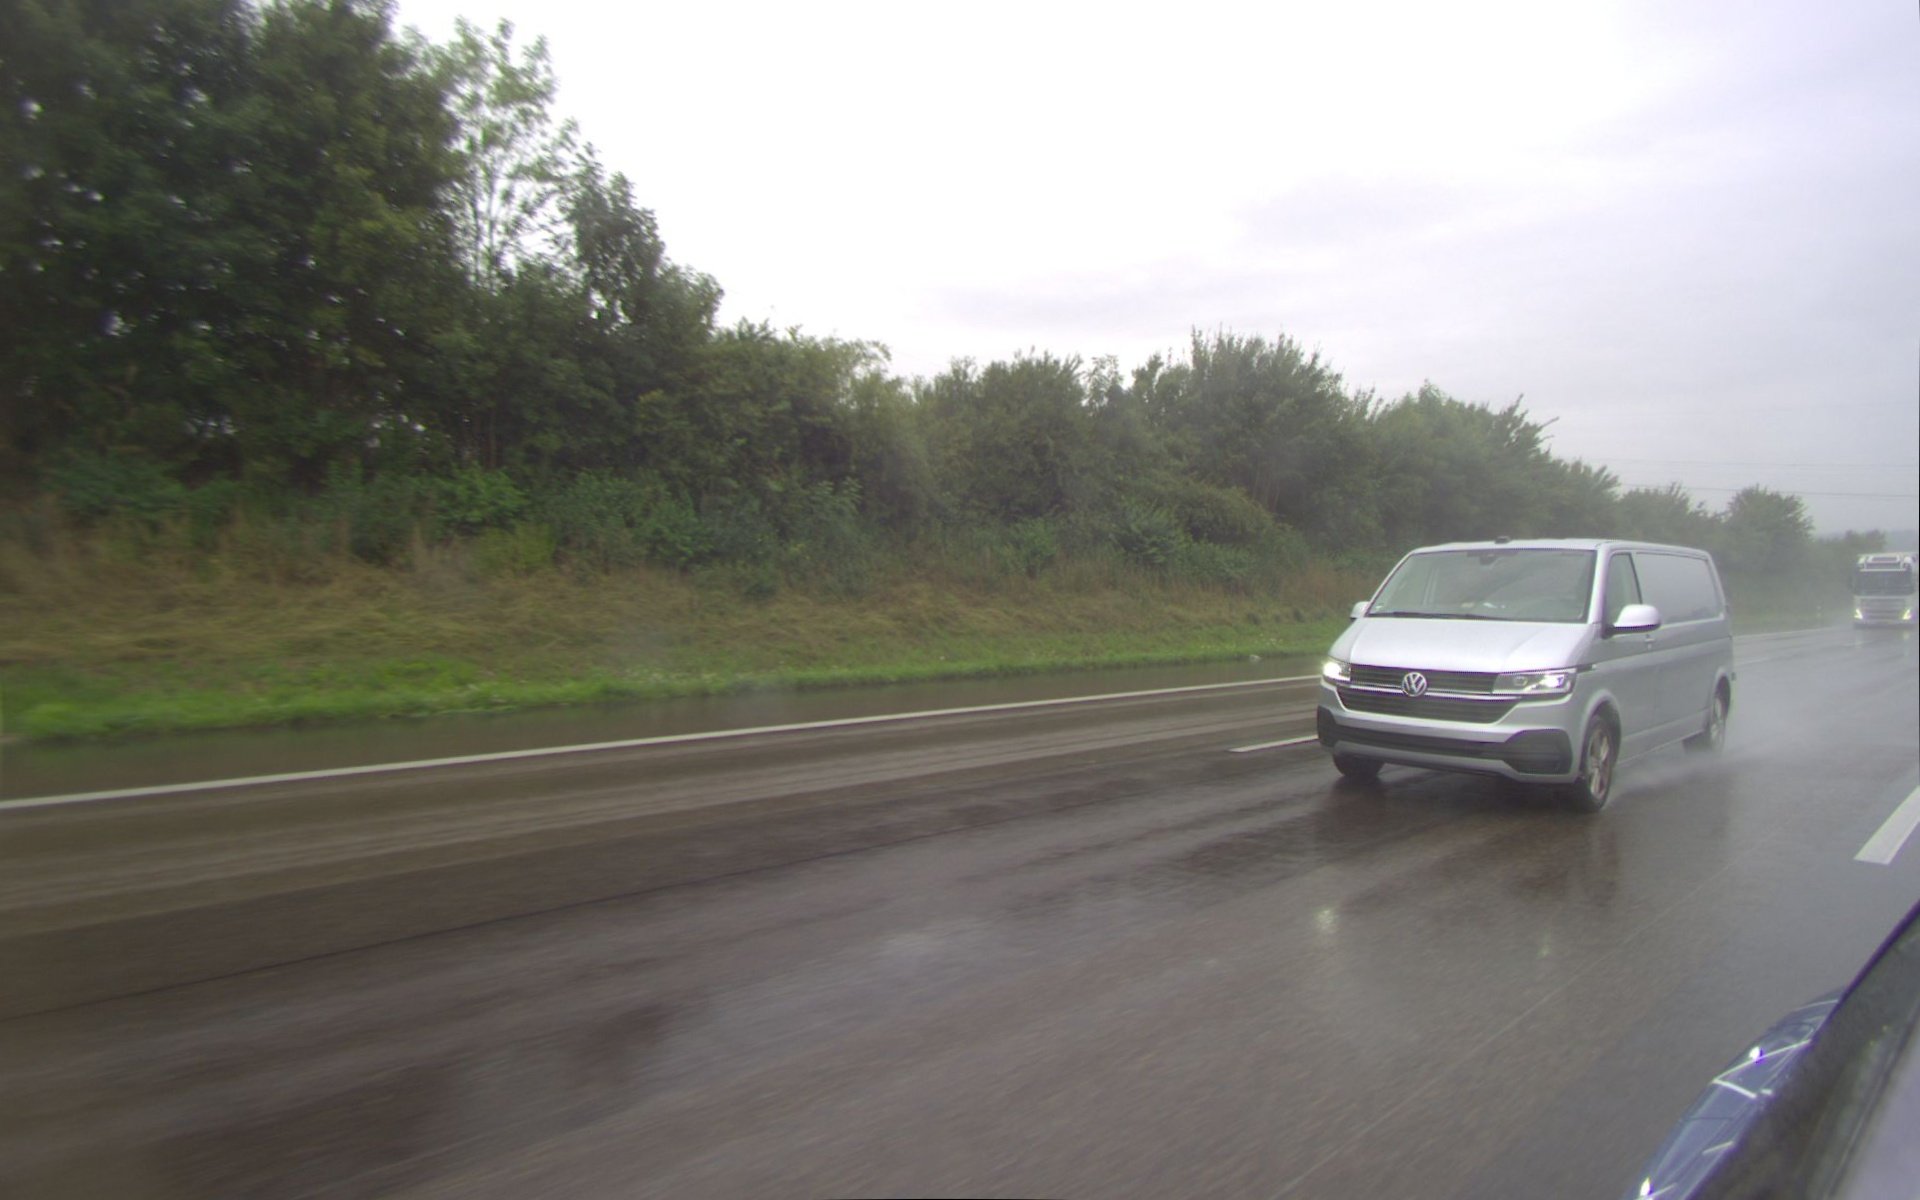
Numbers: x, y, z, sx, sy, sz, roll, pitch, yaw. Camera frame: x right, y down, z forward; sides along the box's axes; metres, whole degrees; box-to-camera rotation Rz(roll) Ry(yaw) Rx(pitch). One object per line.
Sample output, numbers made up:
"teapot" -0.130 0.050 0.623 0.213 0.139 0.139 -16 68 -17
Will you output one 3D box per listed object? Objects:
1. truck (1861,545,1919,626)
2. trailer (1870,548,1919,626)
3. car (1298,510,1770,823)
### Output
"truck" 50.204 -0.755 53.919 5.147 4.139 2.617 0 1 -41
"trailer" 55.568 -0.729 58.628 13.550 4.139 2.617 0 1 -41
"car" 5.025 0.381 8.497 4.921 1.907 1.891 0 1 -41
